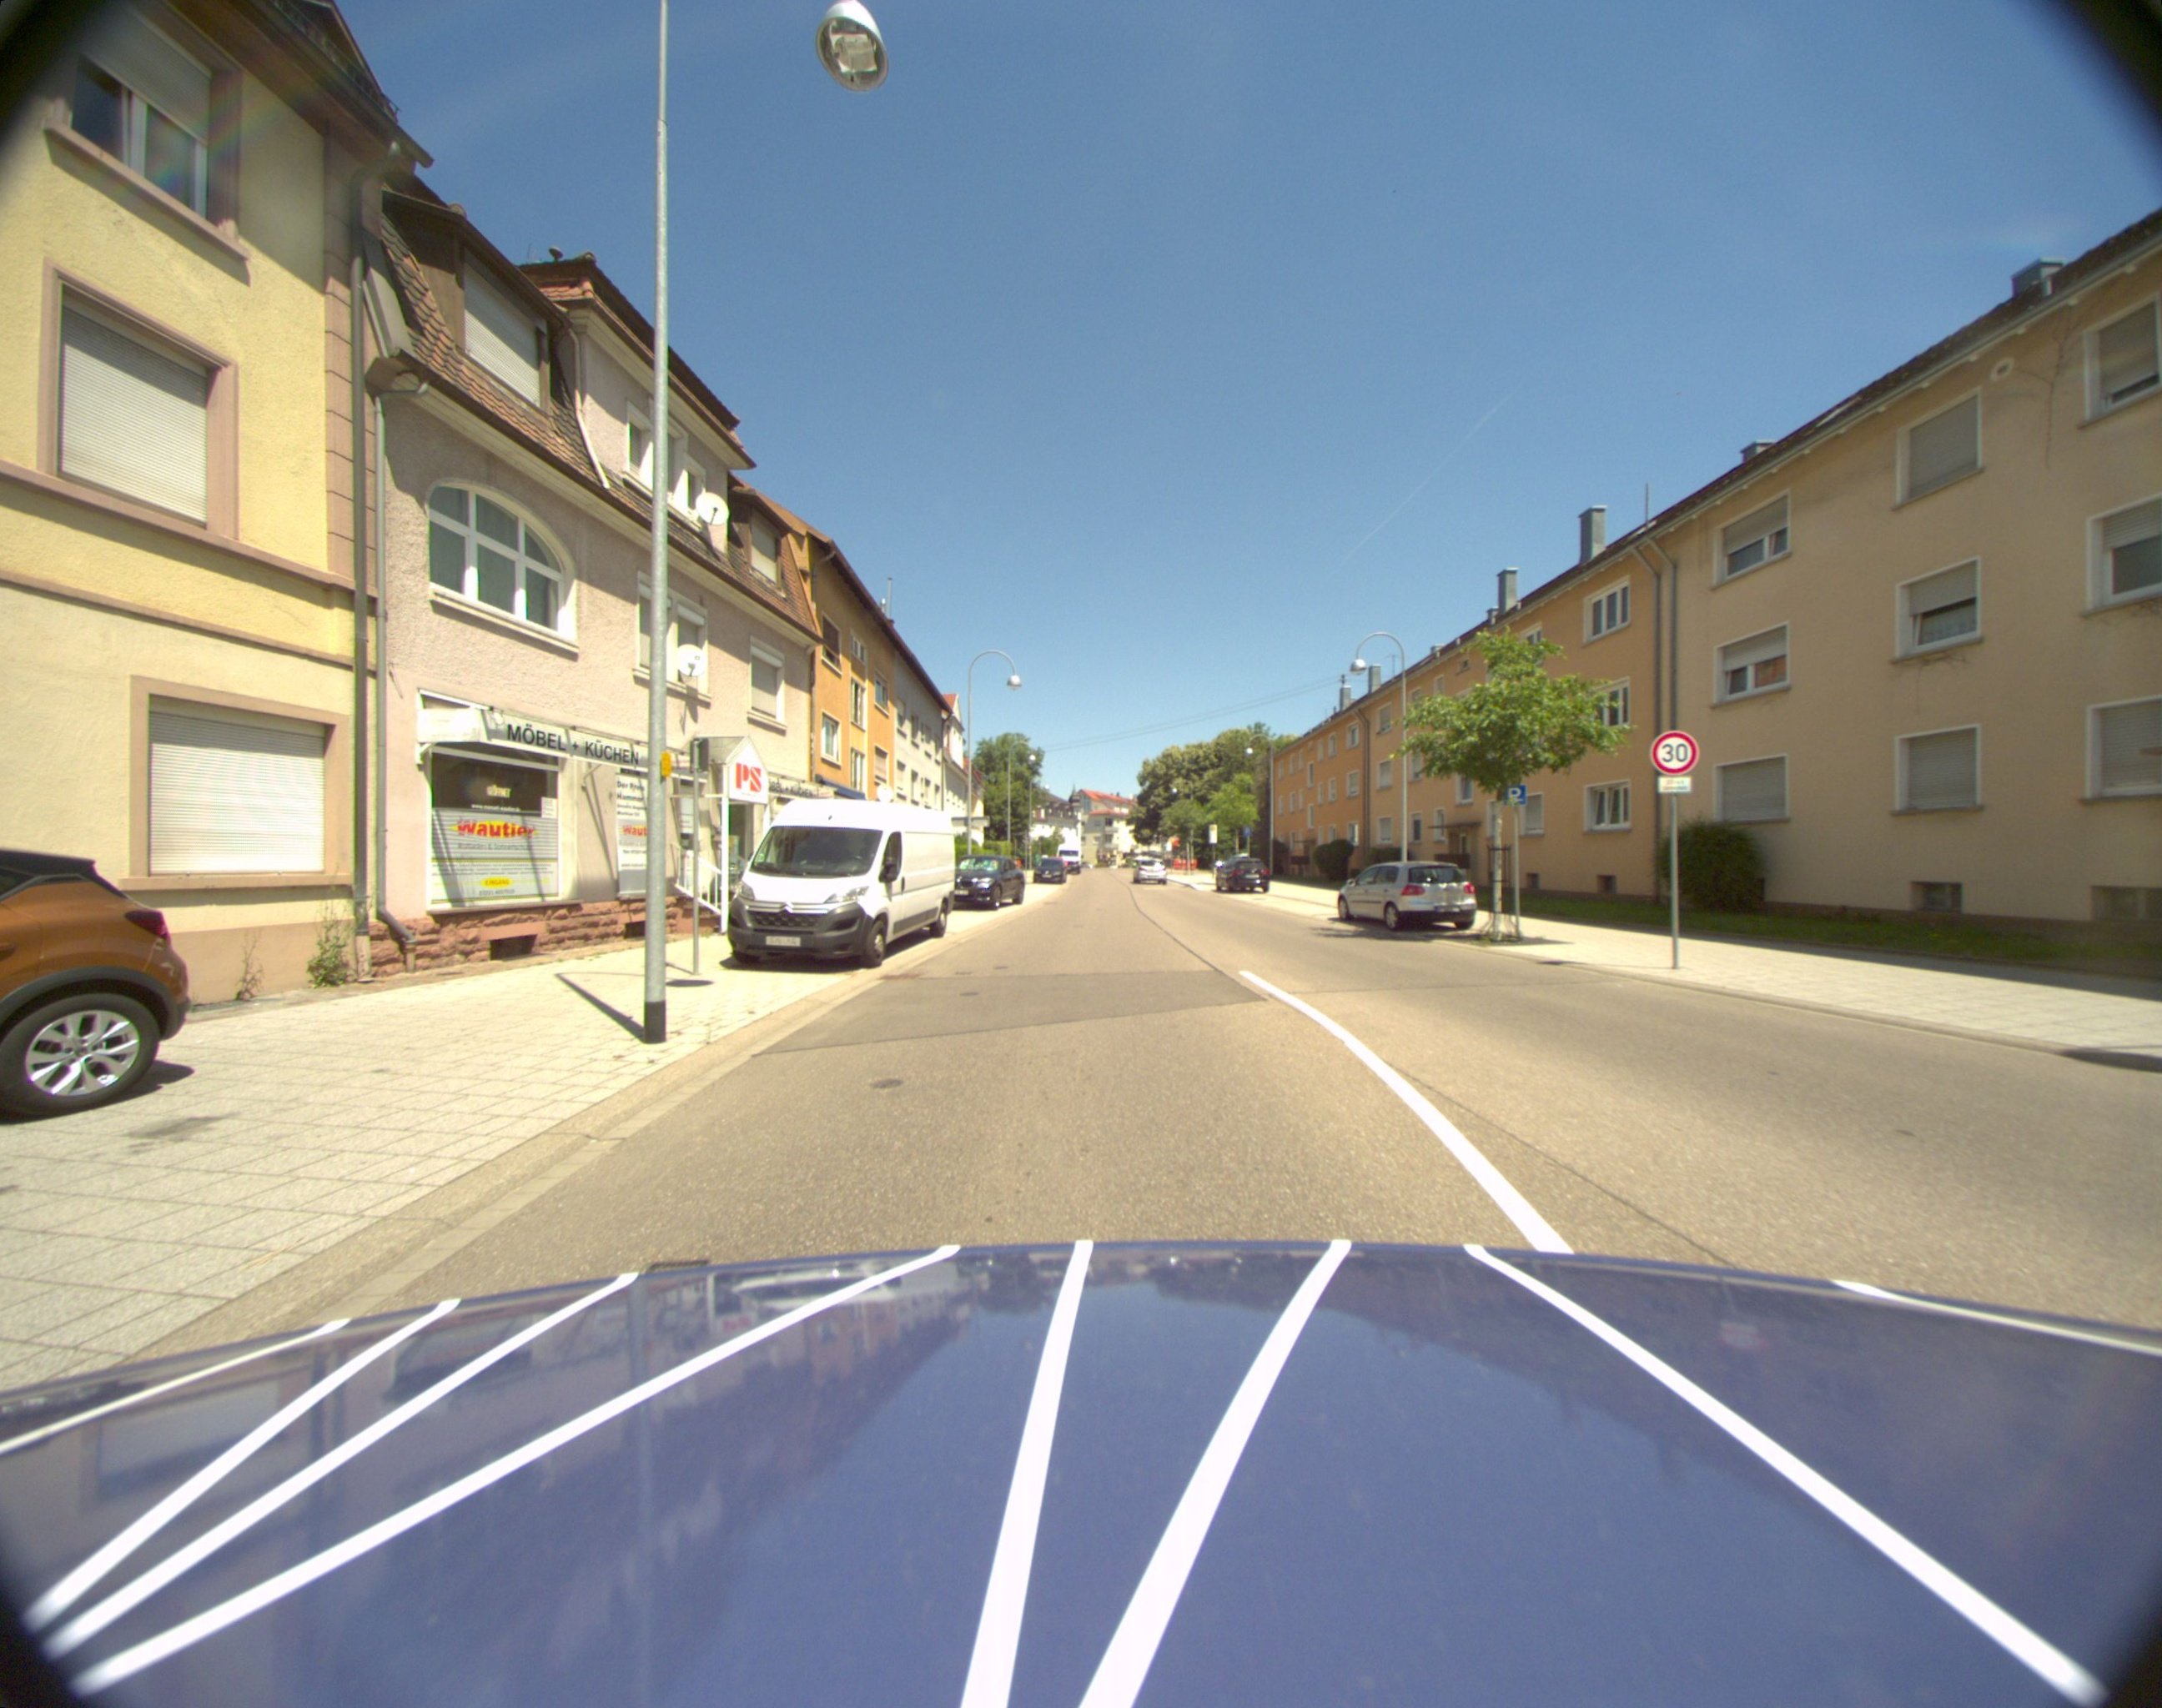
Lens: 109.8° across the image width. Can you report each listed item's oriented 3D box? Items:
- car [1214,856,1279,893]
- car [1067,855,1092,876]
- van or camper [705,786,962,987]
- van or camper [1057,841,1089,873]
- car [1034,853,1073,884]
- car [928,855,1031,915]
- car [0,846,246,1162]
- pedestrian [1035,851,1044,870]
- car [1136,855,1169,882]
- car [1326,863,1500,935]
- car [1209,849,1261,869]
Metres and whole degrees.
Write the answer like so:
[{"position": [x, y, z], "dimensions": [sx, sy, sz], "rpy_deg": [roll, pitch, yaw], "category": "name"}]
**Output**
[{"position": [7.275, 0.864, 33.883], "dimensions": [1.862, 1.498, 4.562], "rpy_deg": [-2, 0, 0], "category": "car"}, {"position": [-0.088, 0.834, 57.788], "dimensions": [1.808, 1.521, 4.150], "rpy_deg": [0, 0, 0], "category": "car"}, {"position": [-3.659, 0.411, 12.704], "dimensions": [2.170, 2.574, 5.766], "rpy_deg": [1, 0, 3], "category": "van or camper"}, {"position": [-0.769, 0.202, 63.737], "dimensions": [2.115, 2.453, 6.171], "rpy_deg": [-1, 2, -6], "category": "van or camper"}, {"position": [-1.547, 0.799, 44.061], "dimensions": [1.732, 1.623, 4.002], "rpy_deg": [2, 0, 5], "category": "car"}, {"position": [-3.013, 0.868, 23.586], "dimensions": [1.898, 1.598, 4.367], "rpy_deg": [2, 1, 10], "category": "car"}, {"position": [-6.544, 0.782, 2.921], "dimensions": [1.676, 1.610, 4.364], "rpy_deg": [2, 0, 4], "category": "car"}, {"position": [-3.858, 0.577, 70.724], "dimensions": [0.522, 1.696, 0.803], "rpy_deg": [3, 0, -19], "category": "pedestrian"}, {"position": [4.100, 0.810, 44.172], "dimensions": [1.663, 1.488, 3.759], "rpy_deg": [0, 0, 2], "category": "car"}, {"position": [7.410, 0.929, 17.462], "dimensions": [1.999, 1.412, 4.087], "rpy_deg": [-1, 0, -4], "category": "car"}, {"position": [14.566, 0.444, 71.881], "dimensions": [4.438, 1.863, 1.817], "rpy_deg": [0, 1, -9], "category": "car"}]
